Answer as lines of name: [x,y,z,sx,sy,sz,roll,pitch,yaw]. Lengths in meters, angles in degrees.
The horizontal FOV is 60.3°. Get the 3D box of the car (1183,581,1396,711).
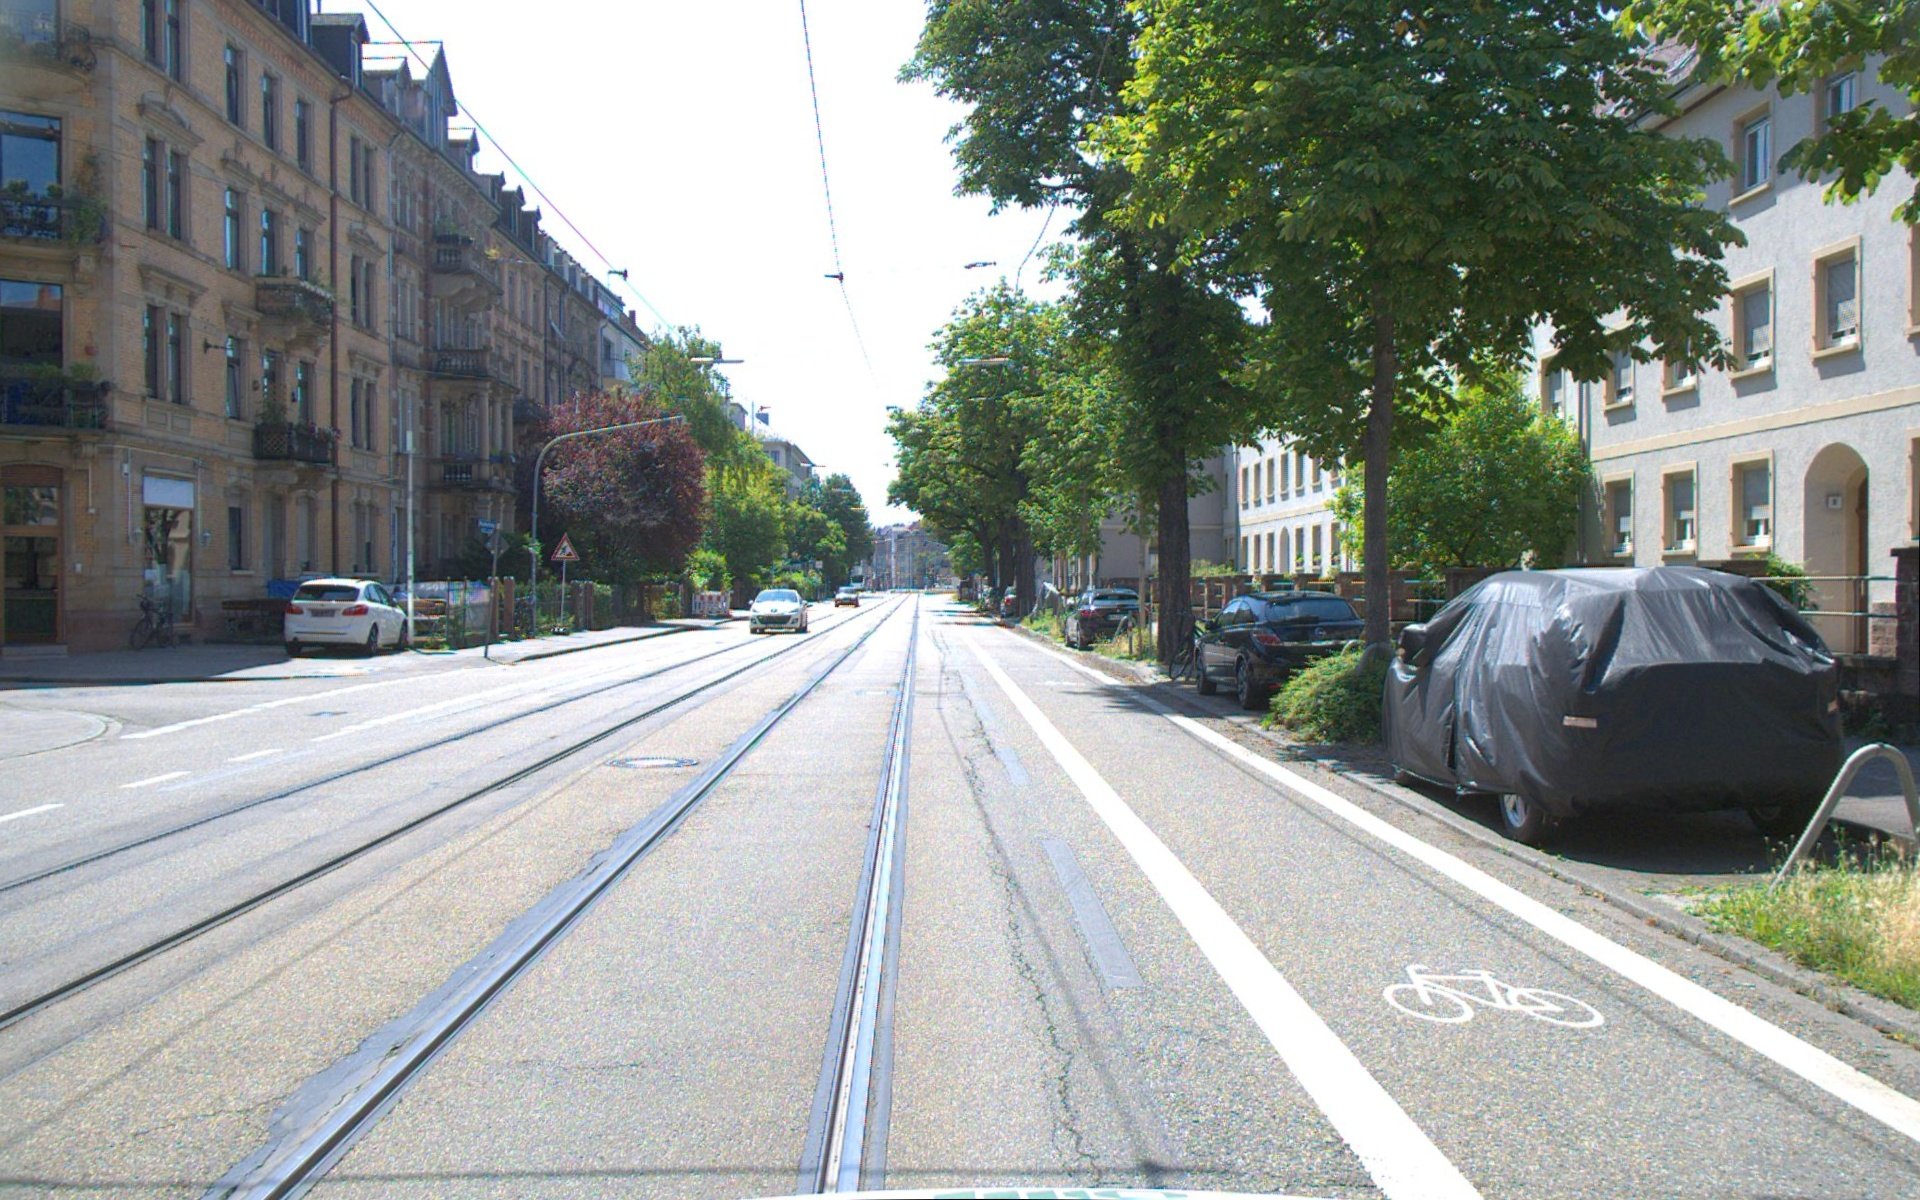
car: [4.226,0.516,21.874,1.661,1.443,4.354,-2,1,-4]

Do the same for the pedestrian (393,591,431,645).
pedestrian: [-13.908,0.447,41.963,0.696,1.320,0.710,-3,1,-6]

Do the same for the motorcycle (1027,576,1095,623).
motorcycle: [3.440,-0.018,56.593,2.279,1.567,0.864,0,1,42]

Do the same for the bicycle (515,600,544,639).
bicycle: [-11.779,0.524,45.277,0.445,1.021,1.805,-1,1,-5]

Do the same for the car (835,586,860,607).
car: [-8.251,-0.251,121.605,1.652,1.479,3.747,-1,1,-1]

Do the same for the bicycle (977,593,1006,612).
bicycle: [2.018,0.140,106.281,1.779,1.132,0.493,-3,0,-2]

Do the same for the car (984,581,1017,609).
car: [2.356,-0.312,96.918,1.589,1.473,3.809,-4,0,-2]

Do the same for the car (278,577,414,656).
car: [-13.333,0.310,36.148,1.830,1.628,4.096,0,1,-6]

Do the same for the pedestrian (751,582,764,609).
pedestrian: [-12.558,-0.283,102.680,0.737,1.657,0.832,-1,1,-8]

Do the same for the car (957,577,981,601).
car: [0.807,-1.006,151.185,1.953,2.071,4.696,-2,1,-1]

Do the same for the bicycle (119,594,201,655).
bicycle: [-17.151,0.508,35.519,0.625,1.208,2.145,-1,1,2]

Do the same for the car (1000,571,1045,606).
car: [2.921,-0.562,78.113,1.738,1.527,4.304,-3,1,-2]

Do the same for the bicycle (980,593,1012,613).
bicycle: [2.213,0.166,101.109,1.923,1.132,0.599,-3,0,1]

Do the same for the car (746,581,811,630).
car: [-5.947,0.156,54.568,1.720,1.449,4.000,-2,1,-1]

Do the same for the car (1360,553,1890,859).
car: [4.355,0.537,11.807,1.907,1.679,4.881,-2,1,2]

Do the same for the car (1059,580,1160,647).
car: [3.638,0.296,41.115,1.734,1.451,4.859,-2,1,-4]

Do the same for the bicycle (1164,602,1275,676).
bicycle: [4.123,0.616,26.339,1.622,1.097,0.605,-2,1,-9]

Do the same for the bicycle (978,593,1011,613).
bicycle: [2.106,0.162,101.779,1.969,1.132,0.640,-3,0,1]

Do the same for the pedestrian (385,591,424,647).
pedestrian: [-13.836,0.468,41.190,0.696,1.320,0.710,-3,1,-6]

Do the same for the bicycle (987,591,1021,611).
bicycle: [2.450,0.071,92.111,1.850,1.070,0.538,-2,0,5]

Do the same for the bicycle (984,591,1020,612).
bicycle: [2.352,0.084,92.485,1.922,1.082,0.599,-2,0,5]
